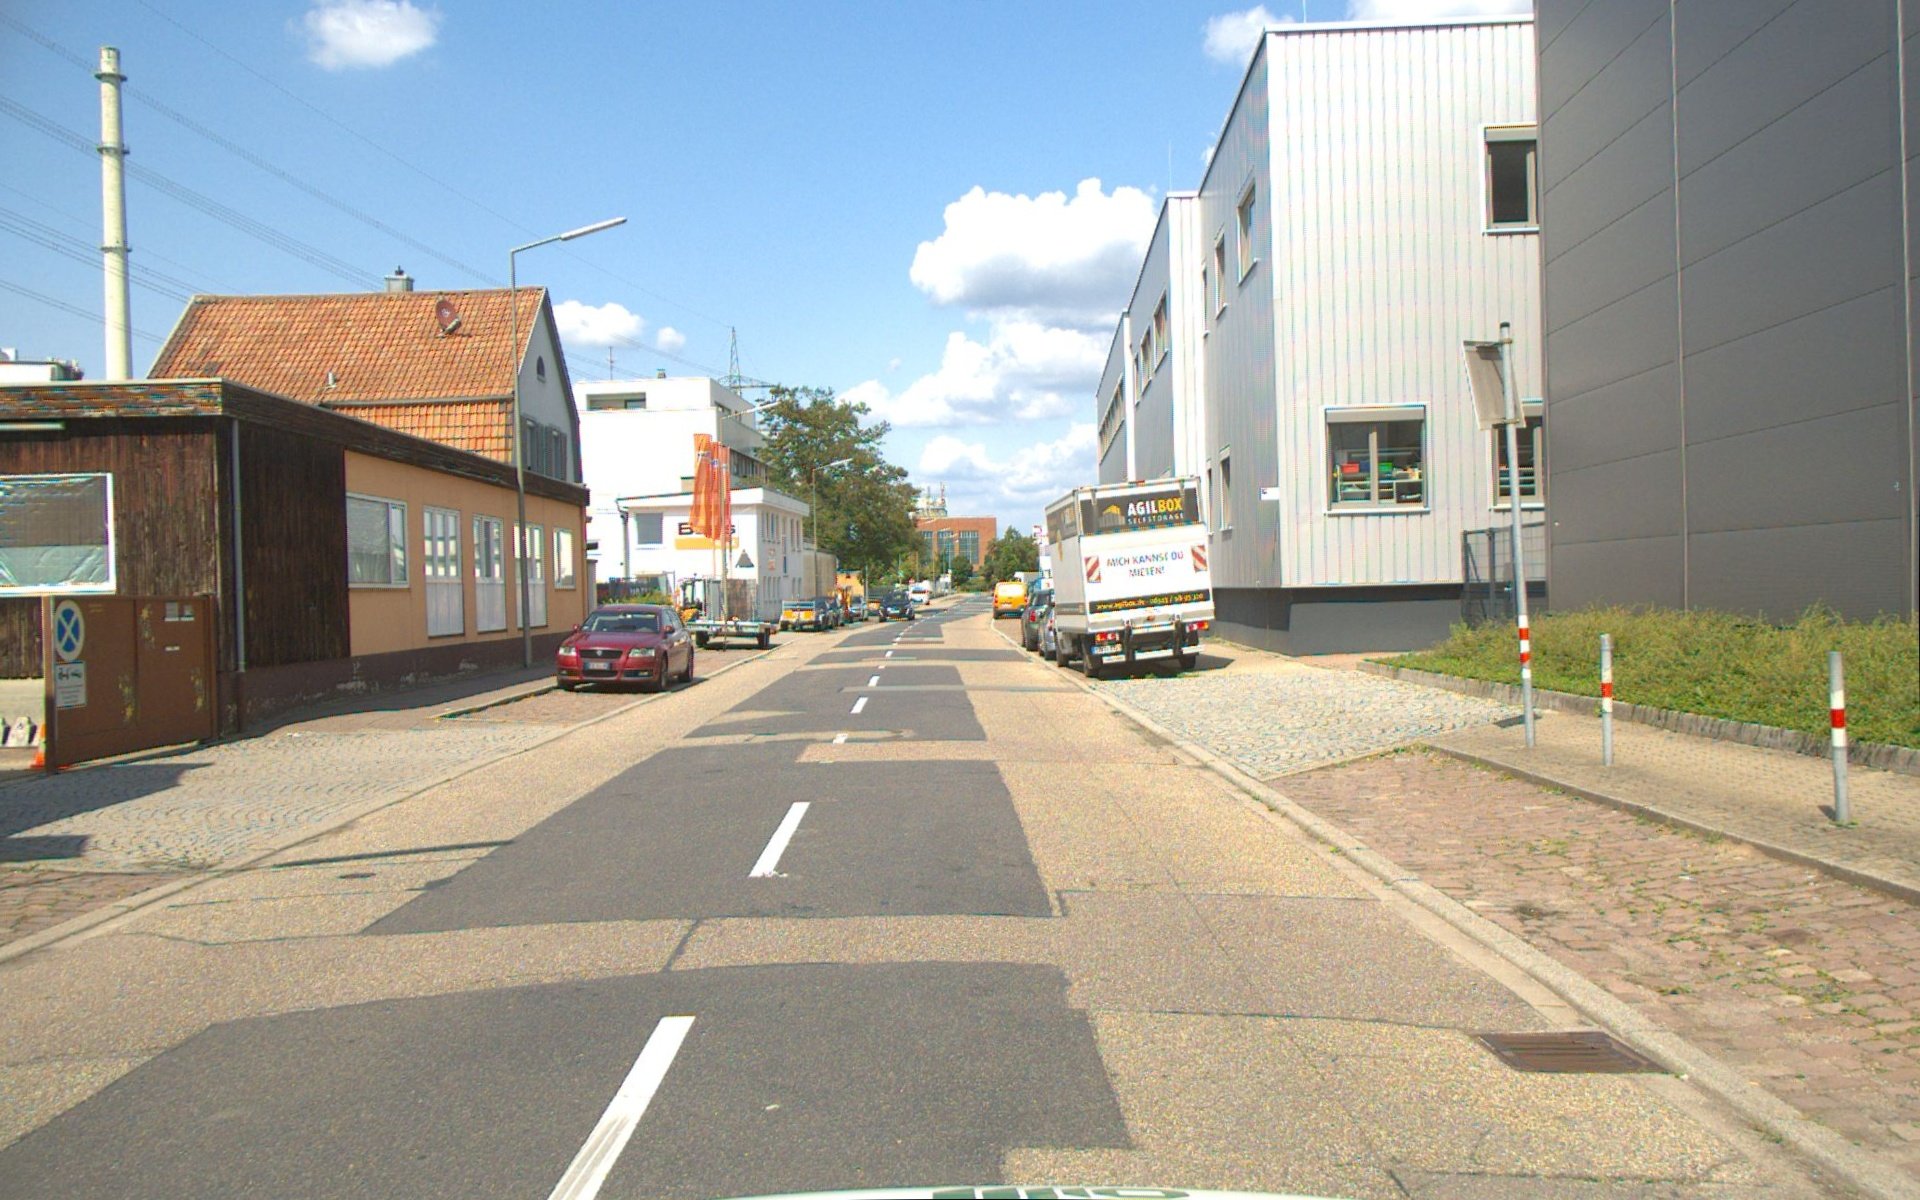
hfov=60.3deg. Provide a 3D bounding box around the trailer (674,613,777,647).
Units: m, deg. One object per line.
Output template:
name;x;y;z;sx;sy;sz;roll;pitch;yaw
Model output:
trailer;-6.785;0.845;48.482;2.314;0.908;5.567;0;0;-1

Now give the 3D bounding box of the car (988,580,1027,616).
car;2.454;-0.093;85.707;1.900;1.772;4.377;-2;0;1

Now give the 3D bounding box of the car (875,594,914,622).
car;-3.307;0.406;84.084;1.879;1.307;3.613;-2;0;-2

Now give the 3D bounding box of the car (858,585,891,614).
car;-5.574;-0.036;108.367;1.882;1.825;4.001;0;0;1

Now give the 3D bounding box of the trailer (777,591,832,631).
trailer;-6.529;0.456;69.668;1.953;1.584;4.252;-1;0;-1

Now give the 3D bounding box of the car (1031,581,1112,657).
car;2.539;0.408;38.401;1.535;1.601;4.068;-2;0;0

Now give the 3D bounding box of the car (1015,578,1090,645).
car;2.393;0.292;43.663;1.732;1.640;3.873;-2;0;0

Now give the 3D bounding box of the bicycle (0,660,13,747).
bicycle;-11.268;1.237;18.414;0.617;0.972;1.967;-1;2;-11

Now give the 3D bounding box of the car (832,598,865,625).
car;-6.099;0.625;90.605;1.634;1.473;3.453;0;0;-1

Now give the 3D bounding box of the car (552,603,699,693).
car;-5.888;0.800;29.640;1.726;1.473;4.740;0;0;-1

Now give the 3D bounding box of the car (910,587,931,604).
car;-3.895;-0.444;162.236;1.772;1.591;4.001;0;0;3

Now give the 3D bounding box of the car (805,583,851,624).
car;-6.749;0.164;85.081;1.952;2.049;4.001;0;0;1

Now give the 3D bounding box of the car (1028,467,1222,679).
car;2.939;-0.456;31.310;2.342;3.420;6.639;-4;0;-4
